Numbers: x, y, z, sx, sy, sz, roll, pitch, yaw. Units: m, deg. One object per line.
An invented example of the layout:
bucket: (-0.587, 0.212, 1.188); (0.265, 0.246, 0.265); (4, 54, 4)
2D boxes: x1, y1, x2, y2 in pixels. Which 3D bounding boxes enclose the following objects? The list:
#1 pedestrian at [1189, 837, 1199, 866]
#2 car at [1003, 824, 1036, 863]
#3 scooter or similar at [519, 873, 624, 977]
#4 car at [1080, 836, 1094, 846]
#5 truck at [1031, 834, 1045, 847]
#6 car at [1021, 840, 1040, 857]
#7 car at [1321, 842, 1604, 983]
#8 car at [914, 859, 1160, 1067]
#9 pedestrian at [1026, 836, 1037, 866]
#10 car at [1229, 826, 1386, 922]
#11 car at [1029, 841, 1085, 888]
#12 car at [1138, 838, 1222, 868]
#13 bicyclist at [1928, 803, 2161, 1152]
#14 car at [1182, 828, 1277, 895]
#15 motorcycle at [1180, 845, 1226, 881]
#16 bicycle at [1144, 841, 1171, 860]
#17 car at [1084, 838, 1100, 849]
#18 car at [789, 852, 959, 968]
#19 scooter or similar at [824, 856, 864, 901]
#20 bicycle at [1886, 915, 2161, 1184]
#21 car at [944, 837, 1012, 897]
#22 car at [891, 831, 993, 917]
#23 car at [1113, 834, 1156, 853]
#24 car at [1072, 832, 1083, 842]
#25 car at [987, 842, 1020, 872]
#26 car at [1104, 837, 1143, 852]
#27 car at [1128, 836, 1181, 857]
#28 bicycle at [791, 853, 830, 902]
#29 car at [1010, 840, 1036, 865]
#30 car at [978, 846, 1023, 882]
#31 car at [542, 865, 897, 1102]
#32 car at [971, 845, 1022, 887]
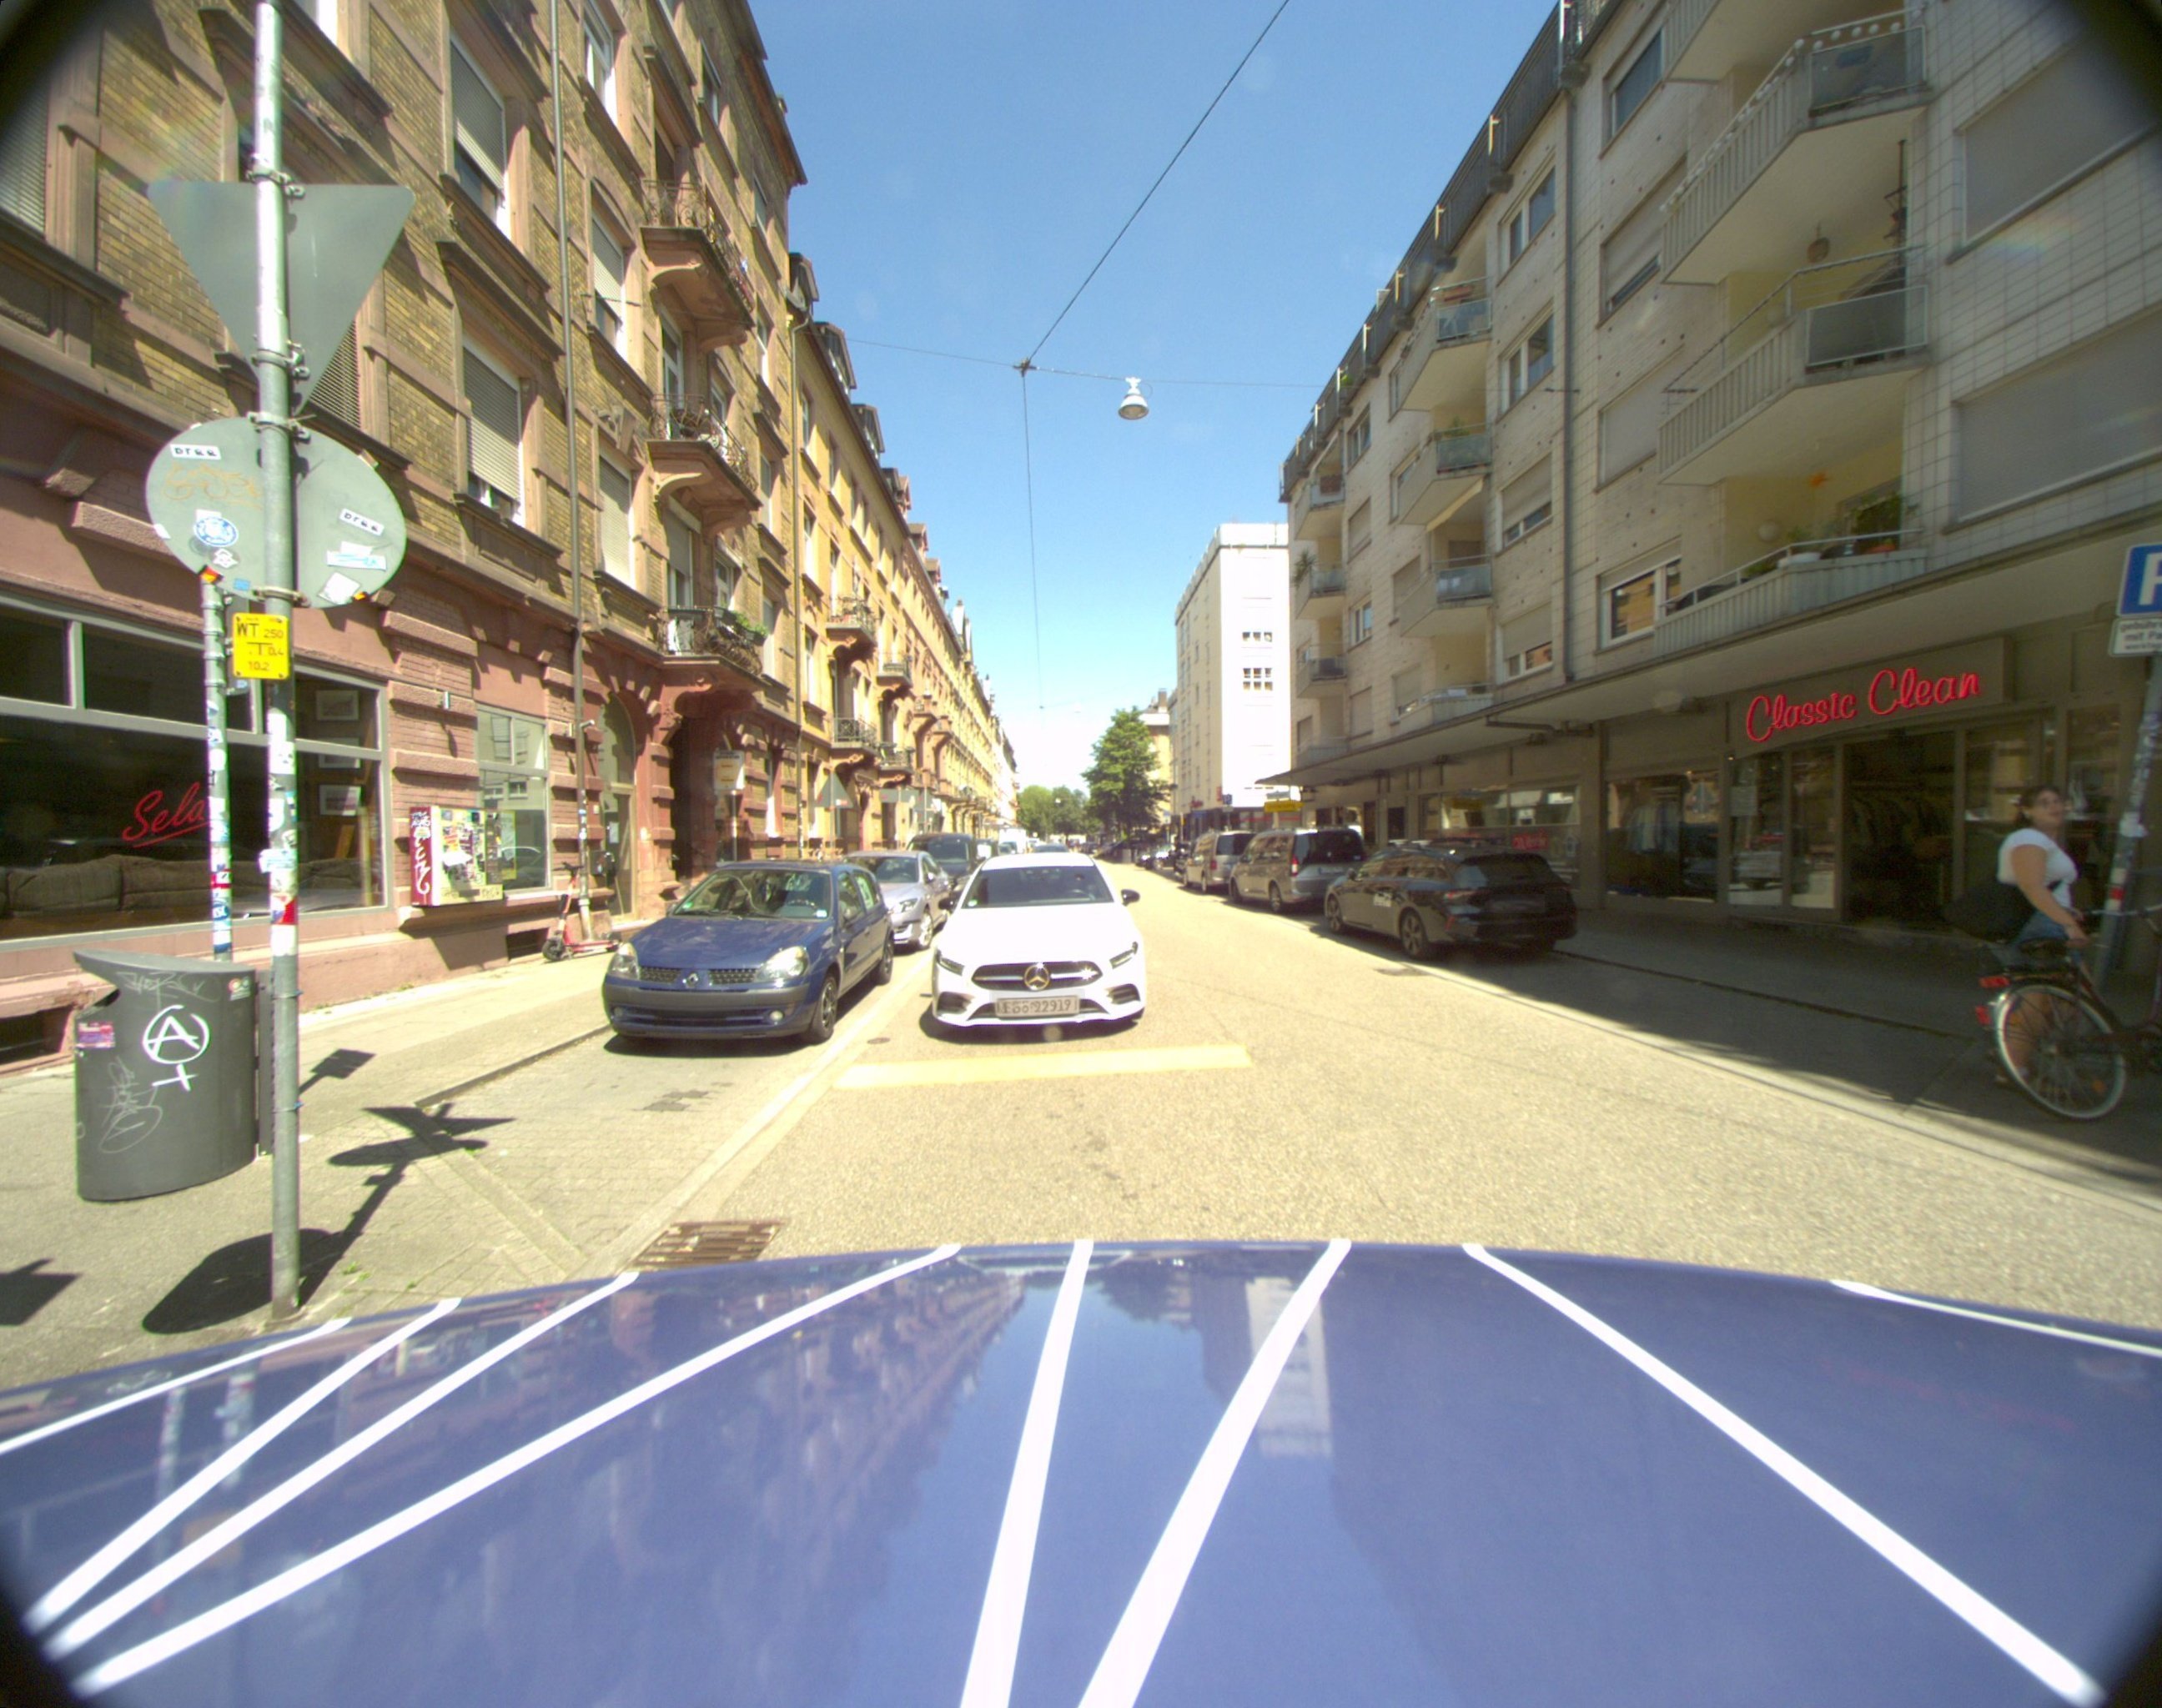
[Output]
pedestrian: (8.412, -0.202, 56.642); (0.608, 2.113, 0.496); (0, 2, 34)
car: (-4.579, -0.817, 57.045); (2.068, 2.687, 5.036); (-3, 2, -2)
scooter or similar: (-6.388, 0.852, 9.593); (0.293, 1.170, 1.272); (-1, 1, 8)
car: (0.910, -2.105, 122.585); (1.999, 1.505, 3.998); (-3, 2, -2)
truck: (-6.819, -2.133, 120.026); (1.999, 2.002, 4.900); (-1, 1, -2)
car: (-4.836, -0.555, 72.291); (1.682, 1.528, 3.997); (-2, 2, -5)
car: (5.006, 0.626, 10.782); (1.674, 1.516, 4.462); (-2, 1, -1)
car: (-0.386, 0.824, 7.795); (1.814, 1.417, 4.240); (-1, 1, -2)
pedestrian: (-3.160, -0.197, 48.708); (0.635, 1.903, 0.370); (-1, 2, -2)
car: (4.883, 0.354, 17.172); (1.794, 1.801, 4.696); (-2, 1, -4)
car: (-0.860, 0.332, 27.349); (1.781, 1.460, 3.998); (-3, 2, -2)
car: (5.001, -0.090, 38.610); (3.892, 1.417, 1.813); (-1, 1, -10)
bicyclist: (5.434, 0.603, 4.143); (0.979, 1.697, 0.624); (-4, 2, -8)
car: (4.440, 0.163, 23.535); (1.793, 1.818, 4.898); (-2, 1, -2)
motorcycle: (4.410, 0.324, 27.462); (1.552, 1.277, 0.394); (-1, 3, 30)
bicycle: (4.781, -0.204, 47.600); (1.609, 1.084, 0.371); (-3, 2, 4)
car: (1.578, -1.538, 108.917); (1.999, 1.505, 3.998); (-3, 2, -2)
car: (-3.057, 0.721, 12.164); (1.730, 1.424, 4.483); (0, 1, -4)
scooter or similar: (-6.570, 0.650, 21.183); (0.478, 1.146, 2.148); (-1, 1, -2)
bicycle: (5.529, 0.960, 4.042); (1.939, 1.085, 0.604); (-5, -1, -7)
car: (-3.201, 0.334, 24.250); (1.706, 1.724, 3.998); (-2, 2, -2)
car: (-3.109, 0.361, 17.767); (1.830, 1.757, 4.335); (0, 1, -4)
car: (5.015, -0.976, 71.328); (3.886, 1.737, 1.651); (-1, 1, -2)
car: (-0.656, -3.213, 144.496); (1.999, 1.674, 3.998); (-3, 2, -2)
car: (-4.049, 0.111, 40.224); (1.603, 1.454, 3.687); (-2, 2, -5)
car: (4.279, -0.964, 76.856); (3.886, 1.487, 1.651); (-1, 1, -2)
car: (5.676, -0.589, 58.677); (3.886, 1.520, 1.651); (-1, 1, -2)
bicycle: (-6.605, 0.547, 18.602); (0.354, 1.097, 1.755); (-1, 1, -2)
car: (-3.949, -0.126, 51.749); (1.682, 1.528, 3.997); (-2, 2, -5)
car: (-3.550, 0.398, 34.173); (1.830, 1.452, 3.997); (-2, 2, -4)
car: (-2.824, 0.882, 6.866); (1.632, 1.424, 3.658); (0, 1, -4)
car: (-3.322, 0.399, 29.504); (1.766, 1.441, 3.902); (-2, 2, -8)
